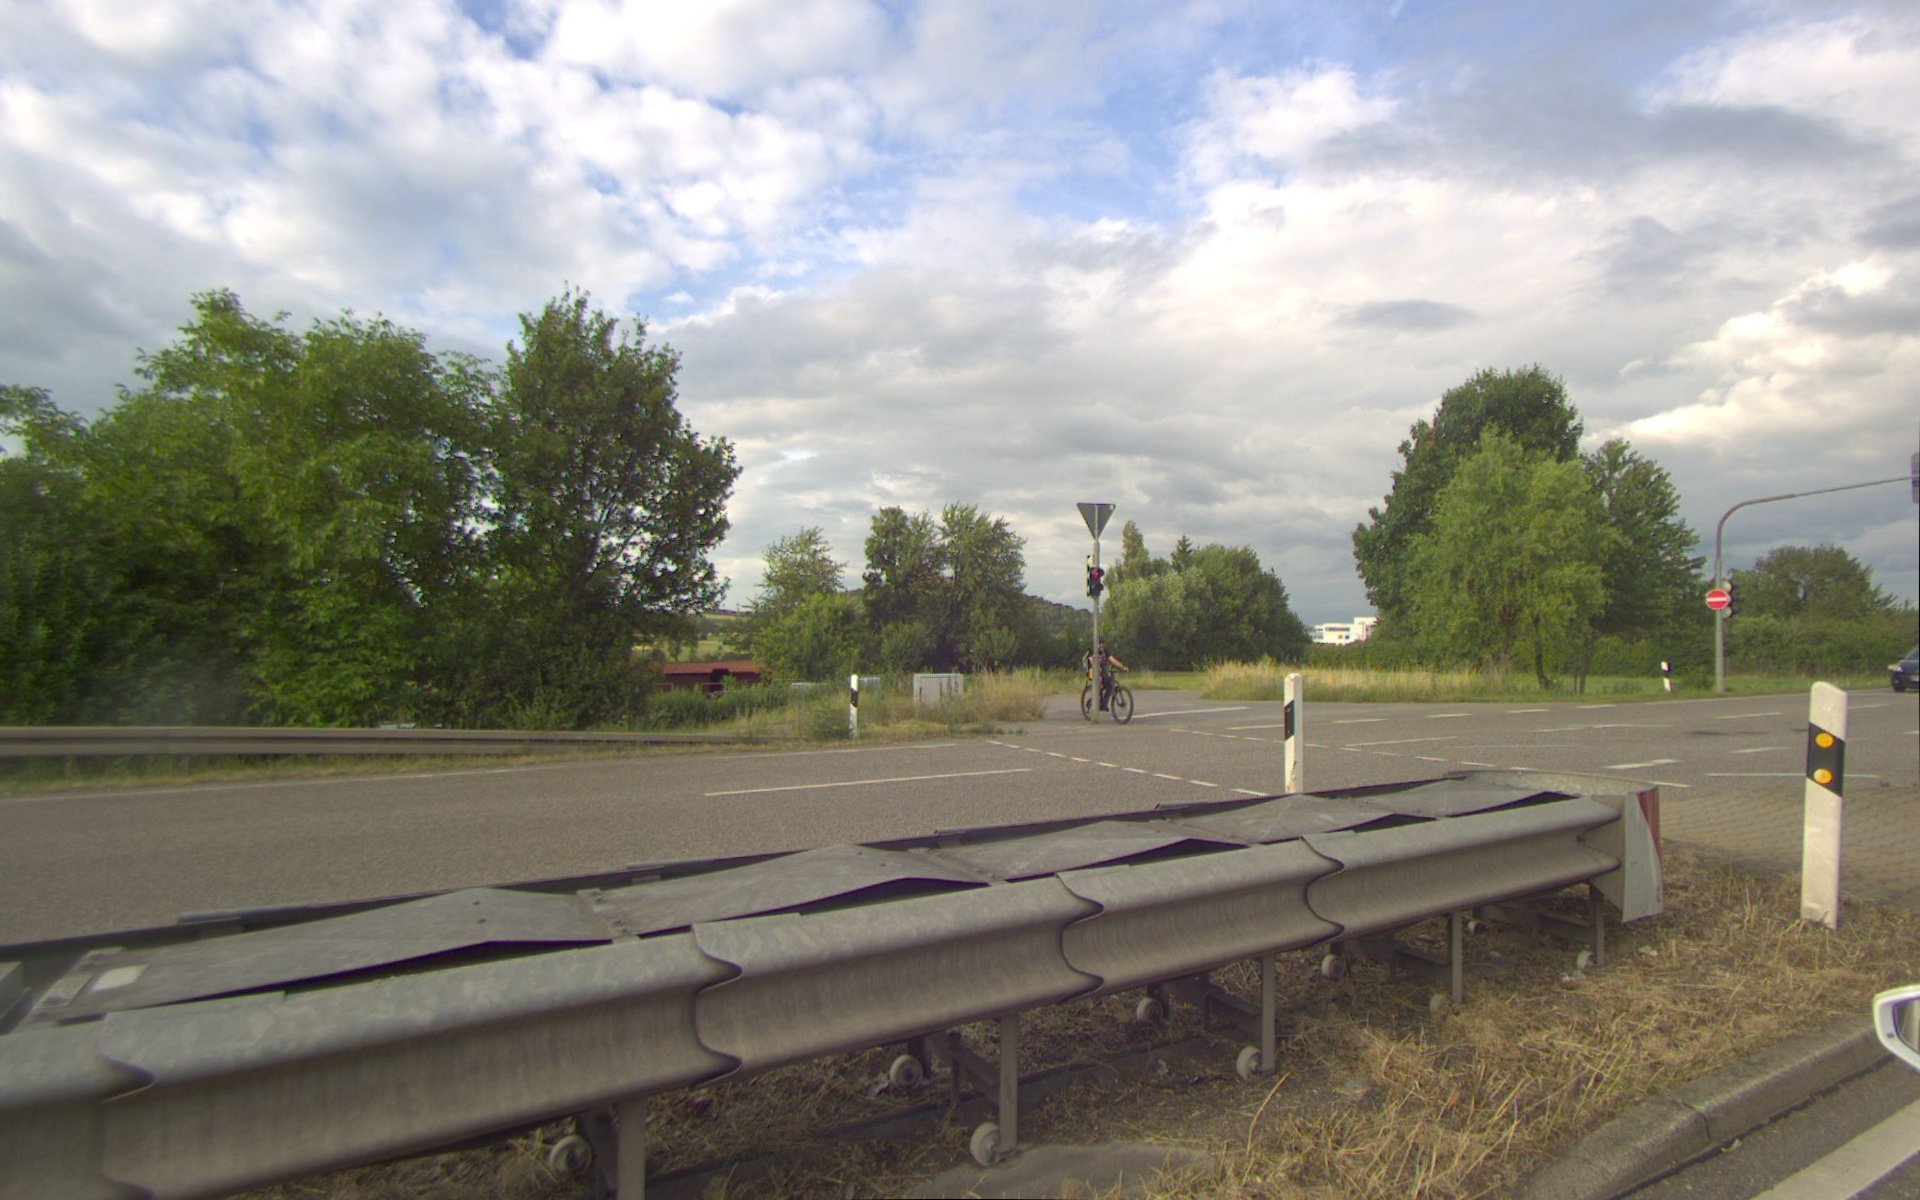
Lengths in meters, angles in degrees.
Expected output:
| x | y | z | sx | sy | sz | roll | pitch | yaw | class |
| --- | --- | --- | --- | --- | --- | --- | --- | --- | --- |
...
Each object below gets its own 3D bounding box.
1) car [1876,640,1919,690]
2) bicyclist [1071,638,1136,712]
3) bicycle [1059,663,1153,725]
| x | y | z | sx | sy | sz | roll | pitch | yaw | class |
| --- | --- | --- | --- | --- | --- | --- | --- | --- | --- |
| 31.727 | 2.057 | 32.386 | 4.881 | 1.556 | 1.899 | 1 | -2 | -31 | car |
| 2.956 | 1.521 | 20.783 | 0.804 | 1.470 | 1.219 | 1 | -2 | -24 | bicyclist |
| 2.975 | 1.899 | 20.745 | 0.804 | 1.152 | 2.314 | 1 | -2 | -24 | bicycle |
